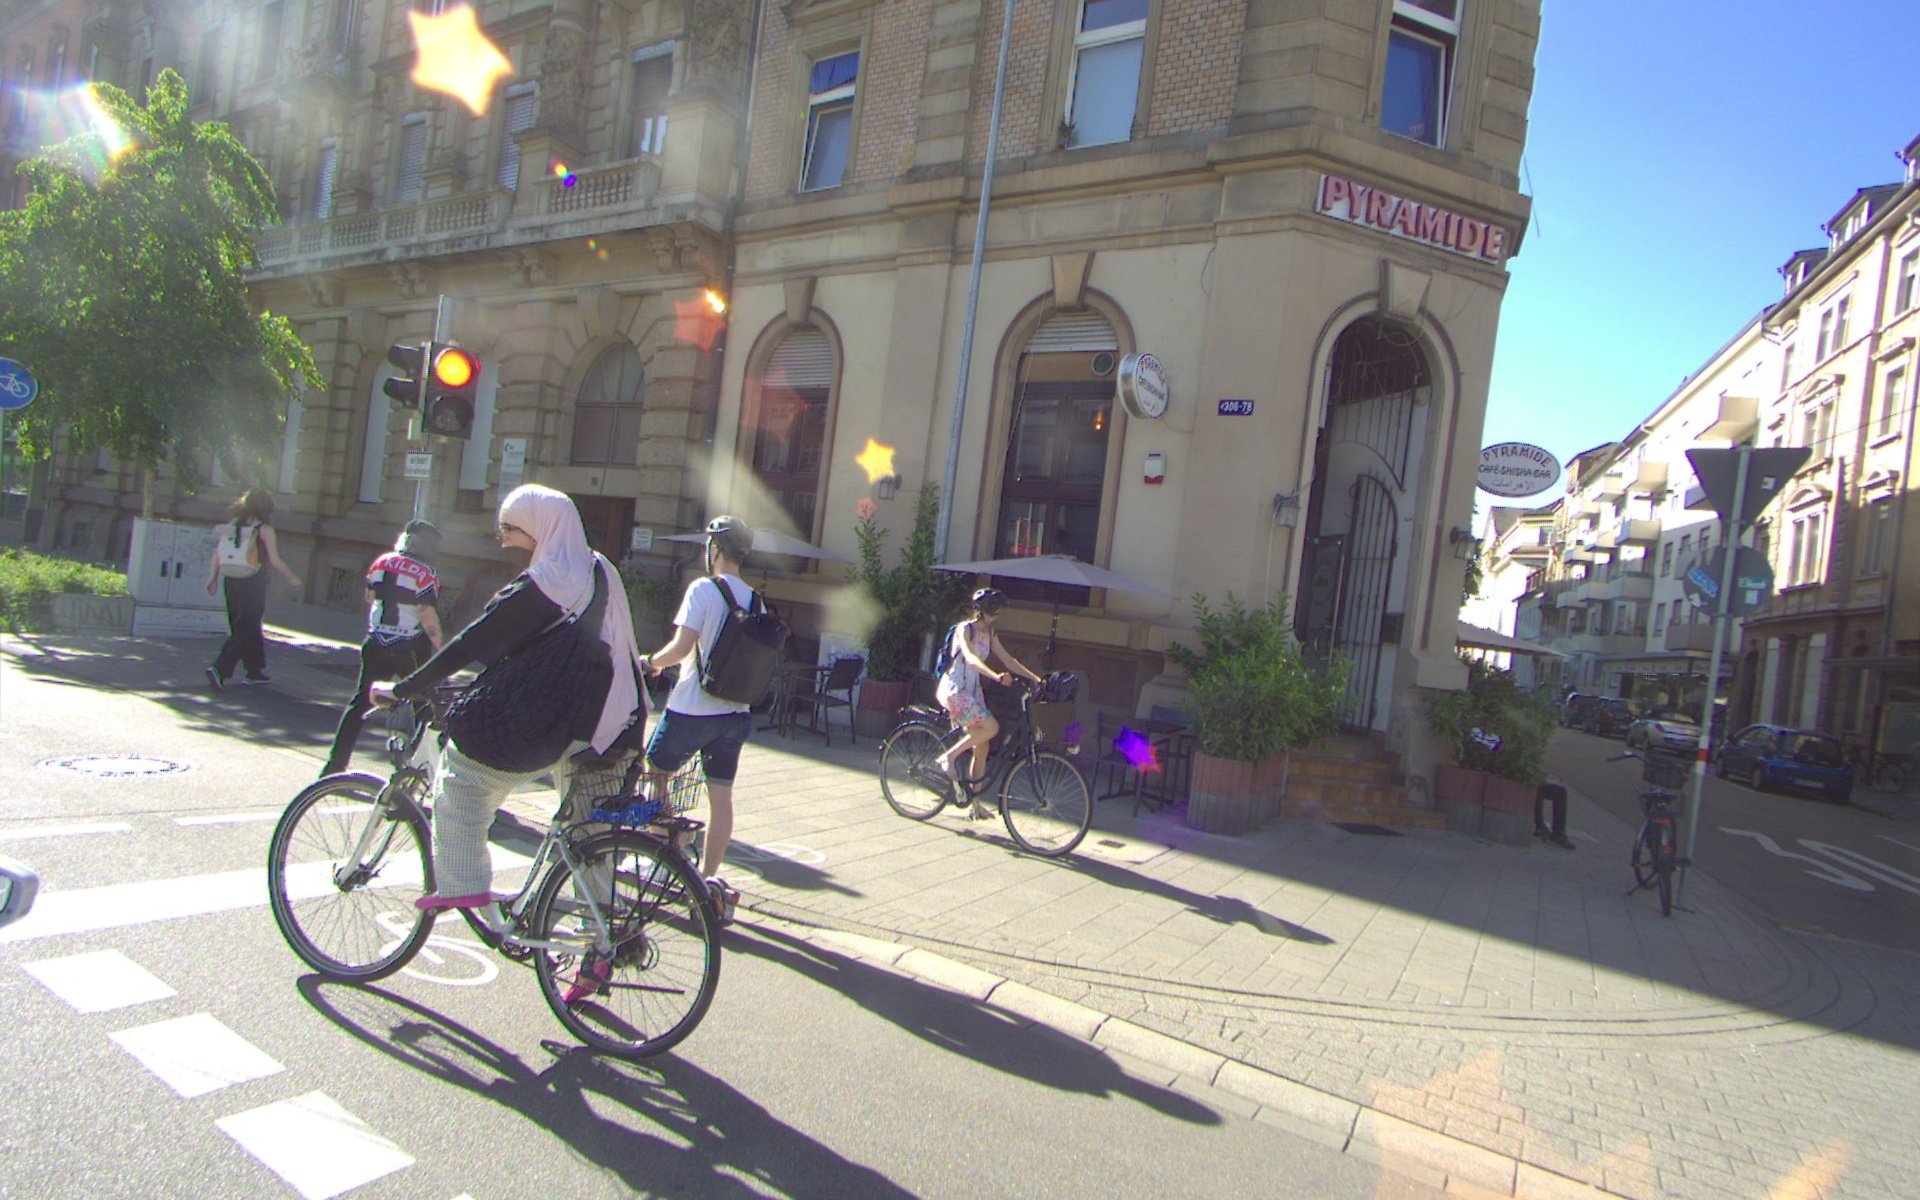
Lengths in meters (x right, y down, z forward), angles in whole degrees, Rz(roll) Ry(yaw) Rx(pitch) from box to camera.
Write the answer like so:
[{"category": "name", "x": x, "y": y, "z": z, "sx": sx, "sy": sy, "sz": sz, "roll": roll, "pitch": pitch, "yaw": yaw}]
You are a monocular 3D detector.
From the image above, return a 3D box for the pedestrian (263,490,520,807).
[{"category": "pedestrian", "x": -3.643, "y": 0.296, "z": 6.489, "sx": 0.953, "sy": 1.809, "sz": 0.867, "roll": 7, "pitch": -1, "yaw": 25}]

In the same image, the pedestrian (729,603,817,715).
[{"category": "pedestrian", "x": -2.266, "y": 0.705, "z": 12.214, "sx": 0.624, "sy": 1.252, "sz": 0.706, "roll": 7, "pitch": 2, "yaw": 31}]

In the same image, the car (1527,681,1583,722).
[{"category": "car", "x": 30.111, "y": 5.097, "z": 51.015, "sx": 1.769, "sy": 1.685, "sz": 3.772, "roll": 7, "pitch": -1, "yaw": 23}]

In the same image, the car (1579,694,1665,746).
[{"category": "car", "x": 24.063, "y": 4.314, "z": 36.712, "sx": 1.769, "sy": 1.449, "sz": 3.773, "roll": 7, "pitch": -1, "yaw": 22}]

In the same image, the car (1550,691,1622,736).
[{"category": "car", "x": 25.844, "y": 4.653, "z": 41.656, "sx": 1.769, "sy": 1.449, "sz": 3.773, "roll": 7, "pitch": -1, "yaw": 22}]

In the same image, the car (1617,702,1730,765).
[{"category": "car", "x": 21.813, "y": 4.034, "z": 30.943, "sx": 1.769, "sy": 1.350, "sz": 4.000, "roll": 9, "pitch": 0, "yaw": 22}]

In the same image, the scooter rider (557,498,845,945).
[{"category": "scooter rider", "x": -1.231, "y": 0.531, "z": 4.826, "sx": 0.886, "sy": 1.882, "sz": 0.668, "roll": 7, "pitch": -1, "yaw": 31}]

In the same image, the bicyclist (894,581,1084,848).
[{"category": "bicyclist", "x": 0.206, "y": 0.766, "z": 7.060, "sx": 0.944, "sy": 1.659, "sz": 0.667, "roll": 7, "pitch": 1, "yaw": 31}]

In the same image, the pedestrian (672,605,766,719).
[{"category": "pedestrian", "x": -2.732, "y": 0.697, "z": 11.441, "sx": 0.624, "sy": 1.193, "sz": 0.706, "roll": 7, "pitch": 2, "yaw": 31}]

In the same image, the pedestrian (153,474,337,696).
[{"category": "pedestrian", "x": -6.729, "y": -0.117, "z": 9.516, "sx": 0.641, "sy": 1.932, "sz": 1.079, "roll": 7, "pitch": 0, "yaw": 19}]

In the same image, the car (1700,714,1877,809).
[{"category": "car", "x": 18.499, "y": 3.534, "z": 22.702, "sx": 1.769, "sy": 1.437, "sz": 4.000, "roll": 9, "pitch": 0, "yaw": 22}]

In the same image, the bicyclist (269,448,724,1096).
[{"category": "bicyclist", "x": -1.473, "y": 0.467, "z": 3.260, "sx": 0.854, "sy": 1.731, "sz": 0.781, "roll": 7, "pitch": -2, "yaw": 31}]

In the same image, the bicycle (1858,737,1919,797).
[{"category": "bicycle", "x": 22.204, "y": 3.941, "z": 23.450, "sx": 0.621, "sy": 1.192, "sz": 2.014, "roll": 7, "pitch": 0, "yaw": 1}]

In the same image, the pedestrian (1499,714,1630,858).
[{"category": "pedestrian", "x": 6.112, "y": 1.849, "z": 10.230, "sx": 0.917, "sy": 1.228, "sz": 0.852, "roll": 7, "pitch": -1, "yaw": 25}]

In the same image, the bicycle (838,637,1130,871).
[{"category": "bicycle", "x": 0.131, "y": 1.004, "z": 7.017, "sx": 1.868, "sy": 1.238, "sz": 0.584, "roll": 7, "pitch": 0, "yaw": 31}]

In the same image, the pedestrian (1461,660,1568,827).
[{"category": "pedestrian", "x": 6.585, "y": 1.677, "z": 12.009, "sx": 0.852, "sy": 1.781, "sz": 0.909, "roll": 7, "pitch": -1, "yaw": 25}]

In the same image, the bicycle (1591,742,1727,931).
[{"category": "bicycle", "x": 5.689, "y": 1.842, "z": 8.207, "sx": 0.643, "sy": 1.186, "sz": 1.818, "roll": 11, "pitch": 2, "yaw": 35}]

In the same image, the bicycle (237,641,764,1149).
[{"category": "bicycle", "x": -1.566, "y": 0.815, "z": 3.313, "sx": 1.762, "sy": 1.105, "sz": 0.558, "roll": 7, "pitch": -2, "yaw": 31}]

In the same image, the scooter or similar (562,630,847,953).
[{"category": "scooter or similar", "x": -1.225, "y": 0.848, "z": 4.777, "sx": 1.151, "sy": 1.240, "sz": 0.492, "roll": 7, "pitch": -2, "yaw": 31}]
